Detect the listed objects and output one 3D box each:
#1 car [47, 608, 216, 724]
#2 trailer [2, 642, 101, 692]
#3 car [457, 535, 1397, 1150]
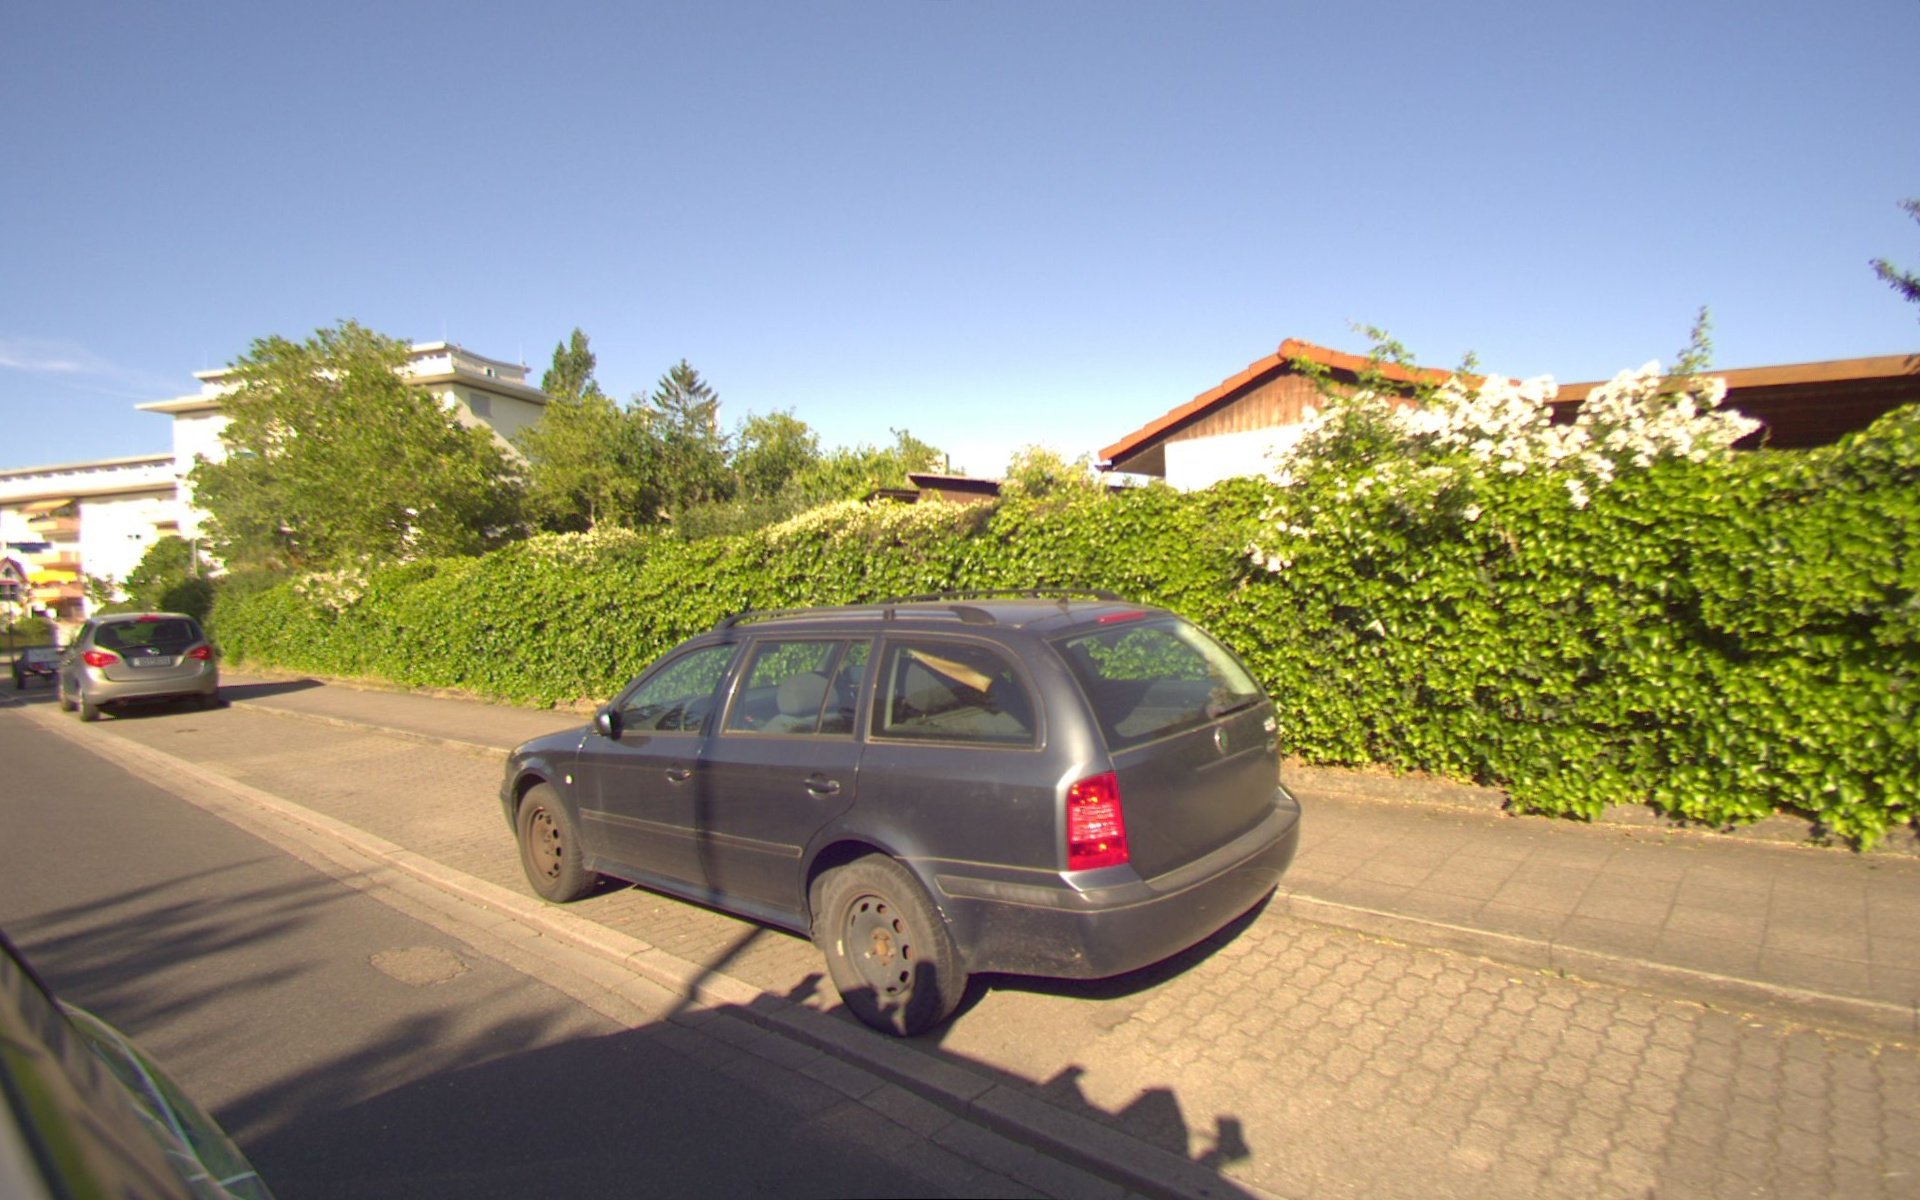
[{"bbox_3d":[-13.827,1.014,16.793,4.312,1.611,1.625,-2,1,44],"label":"car"},{"bbox_3d":[-21.303,1.535,23.709,2.648,0.960,1.527,-2,2,44],"label":"trailer"},{"bbox_3d":[-0.542,0.658,4.740,4.416,1.567,1.627,-2,4,42],"label":"car"}]
